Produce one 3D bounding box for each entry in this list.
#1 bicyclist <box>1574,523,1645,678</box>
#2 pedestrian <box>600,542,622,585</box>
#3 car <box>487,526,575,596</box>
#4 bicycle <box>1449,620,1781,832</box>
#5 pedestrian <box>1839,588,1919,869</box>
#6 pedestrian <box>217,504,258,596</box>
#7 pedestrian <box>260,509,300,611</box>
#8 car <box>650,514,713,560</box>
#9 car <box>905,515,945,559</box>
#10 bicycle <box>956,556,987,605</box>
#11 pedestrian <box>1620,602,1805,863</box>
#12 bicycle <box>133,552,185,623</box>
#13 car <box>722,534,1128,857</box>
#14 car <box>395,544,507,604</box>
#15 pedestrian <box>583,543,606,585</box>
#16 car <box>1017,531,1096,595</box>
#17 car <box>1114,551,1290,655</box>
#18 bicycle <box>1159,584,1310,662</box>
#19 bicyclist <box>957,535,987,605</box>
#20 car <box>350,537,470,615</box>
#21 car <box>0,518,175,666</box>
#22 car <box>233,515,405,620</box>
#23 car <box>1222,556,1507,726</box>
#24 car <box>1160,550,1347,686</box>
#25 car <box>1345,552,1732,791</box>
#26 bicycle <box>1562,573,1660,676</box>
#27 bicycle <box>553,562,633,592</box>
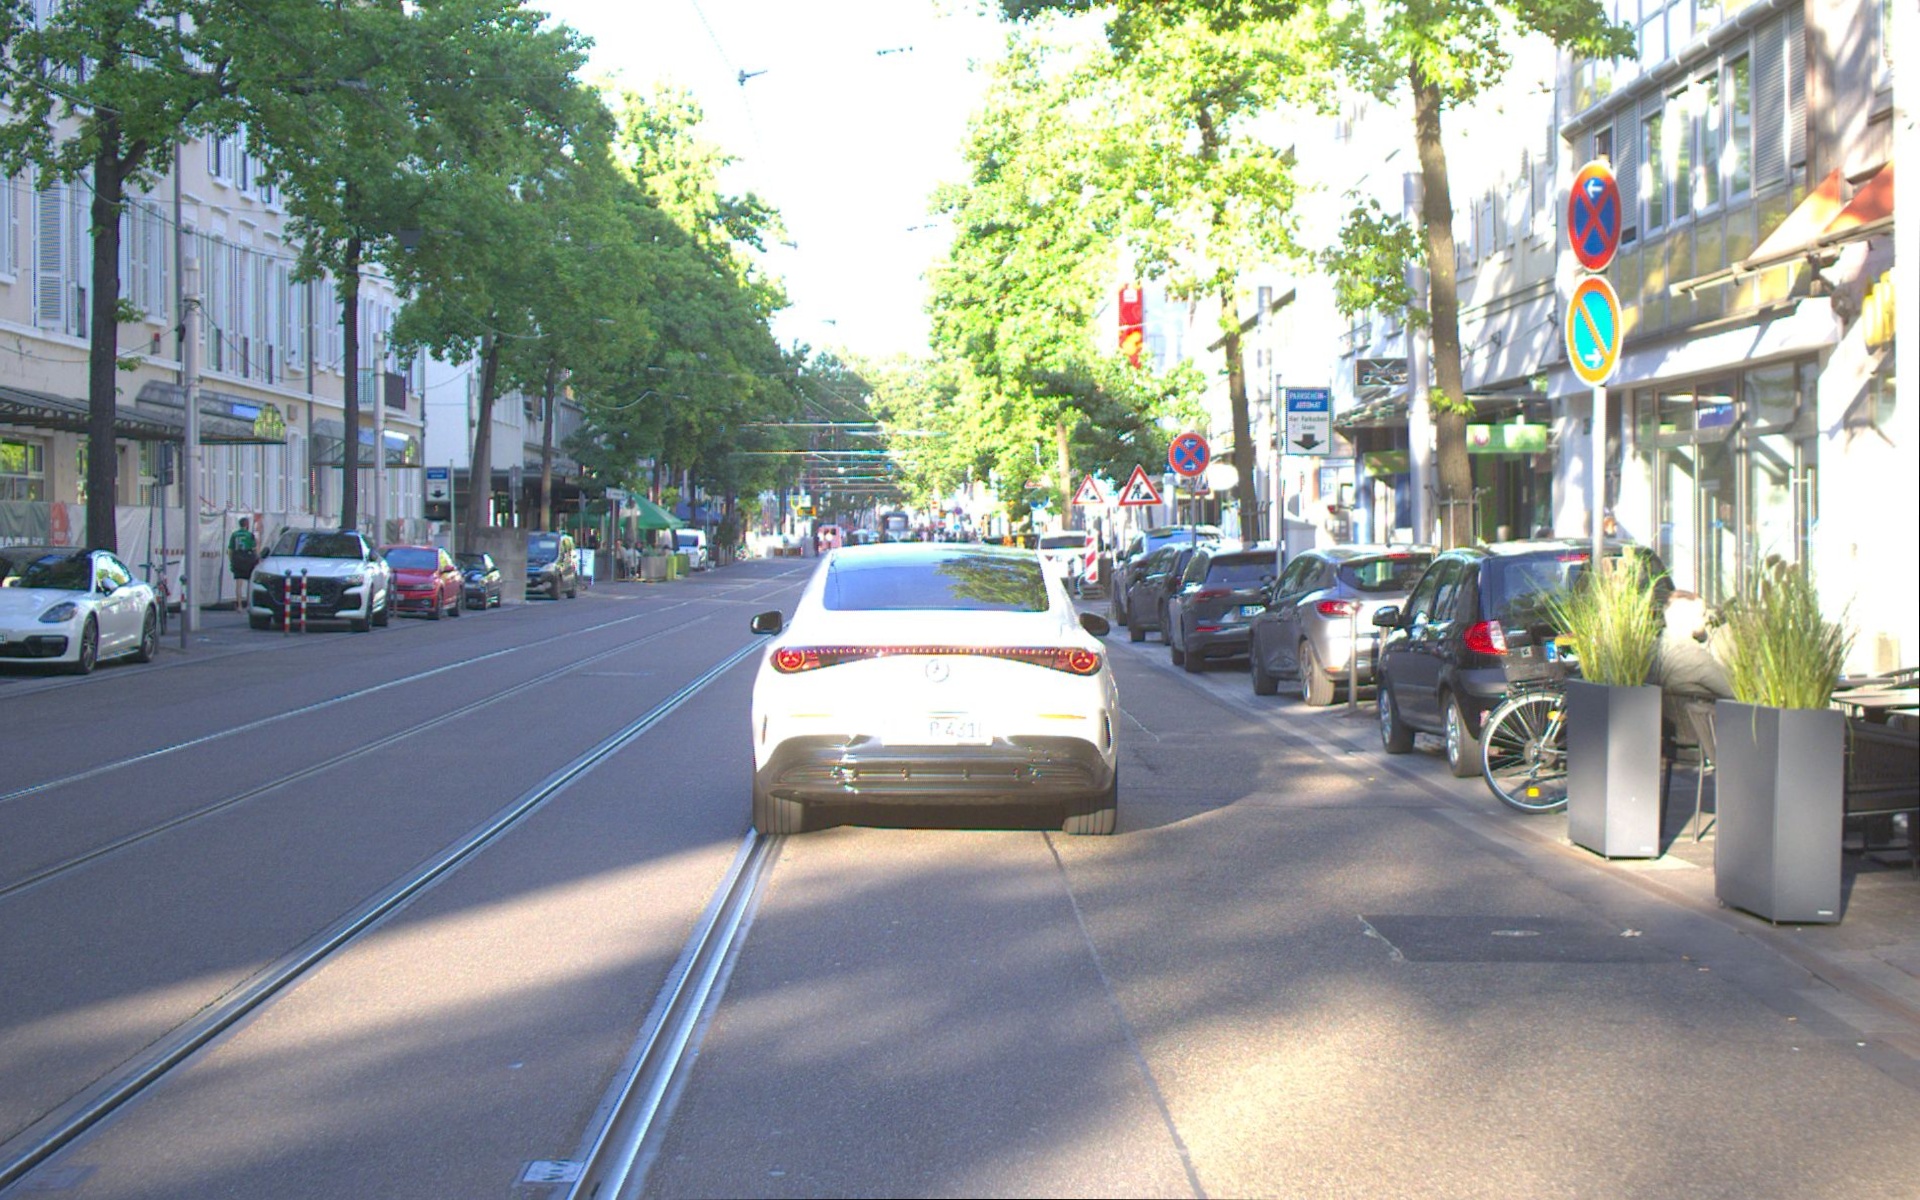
[{"bbox_3d":[7.080,-0.001,37.507,0.638,1.678,0.600,0,1,-2],"label":"bicyclist"},{"bbox_3d":[-12.385,-1.288,121.856,0.517,1.473,0.650,-2,0,-28],"label":"pedestrian"},{"bbox_3d":[-11.312,-1.039,90.778,1.553,1.789,3.166,1,1,8],"label":"car"},{"bbox_3d":[3.645,0.698,19.141,1.728,1.135,0.546,-1,0,20],"label":"bicycle"},{"bbox_3d":[4.965,0.637,17.329,0.707,1.382,0.747,0,1,-38],"label":"pedestrian"},{"bbox_3d":[-14.195,-0.984,67.565,0.707,1.800,0.676,0,1,-6],"label":"pedestrian"},{"bbox_3d":[-13.371,-0.782,67.580,0.707,1.997,0.676,0,1,-7],"label":"pedestrian"},{"bbox_3d":[-12.406,-2.794,153.607,1.994,2.007,3.999,1,1,8],"label":"car"},{"bbox_3d":[-2.077,-3.682,202.662,1.993,2.533,4.001,1,0,-6],"label":"car"},{"bbox_3d":[0.276,-0.475,84.630,0.740,1.184,2.160,0,0,0],"label":"bicycle"},{"bbox_3d":[3.756,0.652,17.199,0.817,1.261,0.586,1,1,5],"label":"pedestrian"},{"bbox_3d":[-12.212,-0.202,52.454,0.593,1.047,2.009,0,1,-8],"label":"bicycle"},{"bbox_3d":[-0.302,0.466,18.242,1.868,1.464,4.043,2,-1,-4],"label":"car"},{"bbox_3d":[-11.510,-0.606,77.988,1.993,1.287,4.000,1,1,-1],"label":"car"},{"bbox_3d":[-12.807,-1.275,120.496,0.569,1.459,0.649,1,1,19],"label":"pedestrian"},{"bbox_3d":[2.632,-1.030,94.744,1.993,1.722,4.241,0,1,0],"label":"car"},{"bbox_3d":[3.508,0.017,50.465,1.837,1.431,4.001,0,1,-7],"label":"car"},{"bbox_3d":[3.503,0.291,43.858,1.896,0.961,0.332,1,1,5],"label":"bicycle"},{"bbox_3d":[0.289,-0.738,84.559,0.724,1.697,0.811,1,0,0],"label":"bicyclist"},{"bbox_3d":[-11.020,-0.496,69.126,1.688,1.494,4.234,1,1,0],"label":"car"},{"bbox_3d":[-10.893,-0.133,40.776,1.946,1.634,4.909,1,1,1],"label":"car"},{"bbox_3d":[-10.929,-0.560,58.972,1.962,1.686,5.013,1,1,0],"label":"car"},{"bbox_3d":[3.732,0.340,32.414,1.814,1.481,4.001,1,1,-6],"label":"car"},{"bbox_3d":[3.372,0.168,40.174,1.871,1.448,4.106,-2,1,1],"label":"car"},{"bbox_3d":[3.816,0.425,23.273,1.800,1.453,3.655,-1,1,-3],"label":"car"},{"bbox_3d":[7.081,0.255,37.471,0.647,1.070,1.861,0,1,-2],"label":"bicycle"},{"bbox_3d":[-10.707,-0.680,100.305,2.255,0.827,0.716,1,1,22],"label":"bicycle"}]
